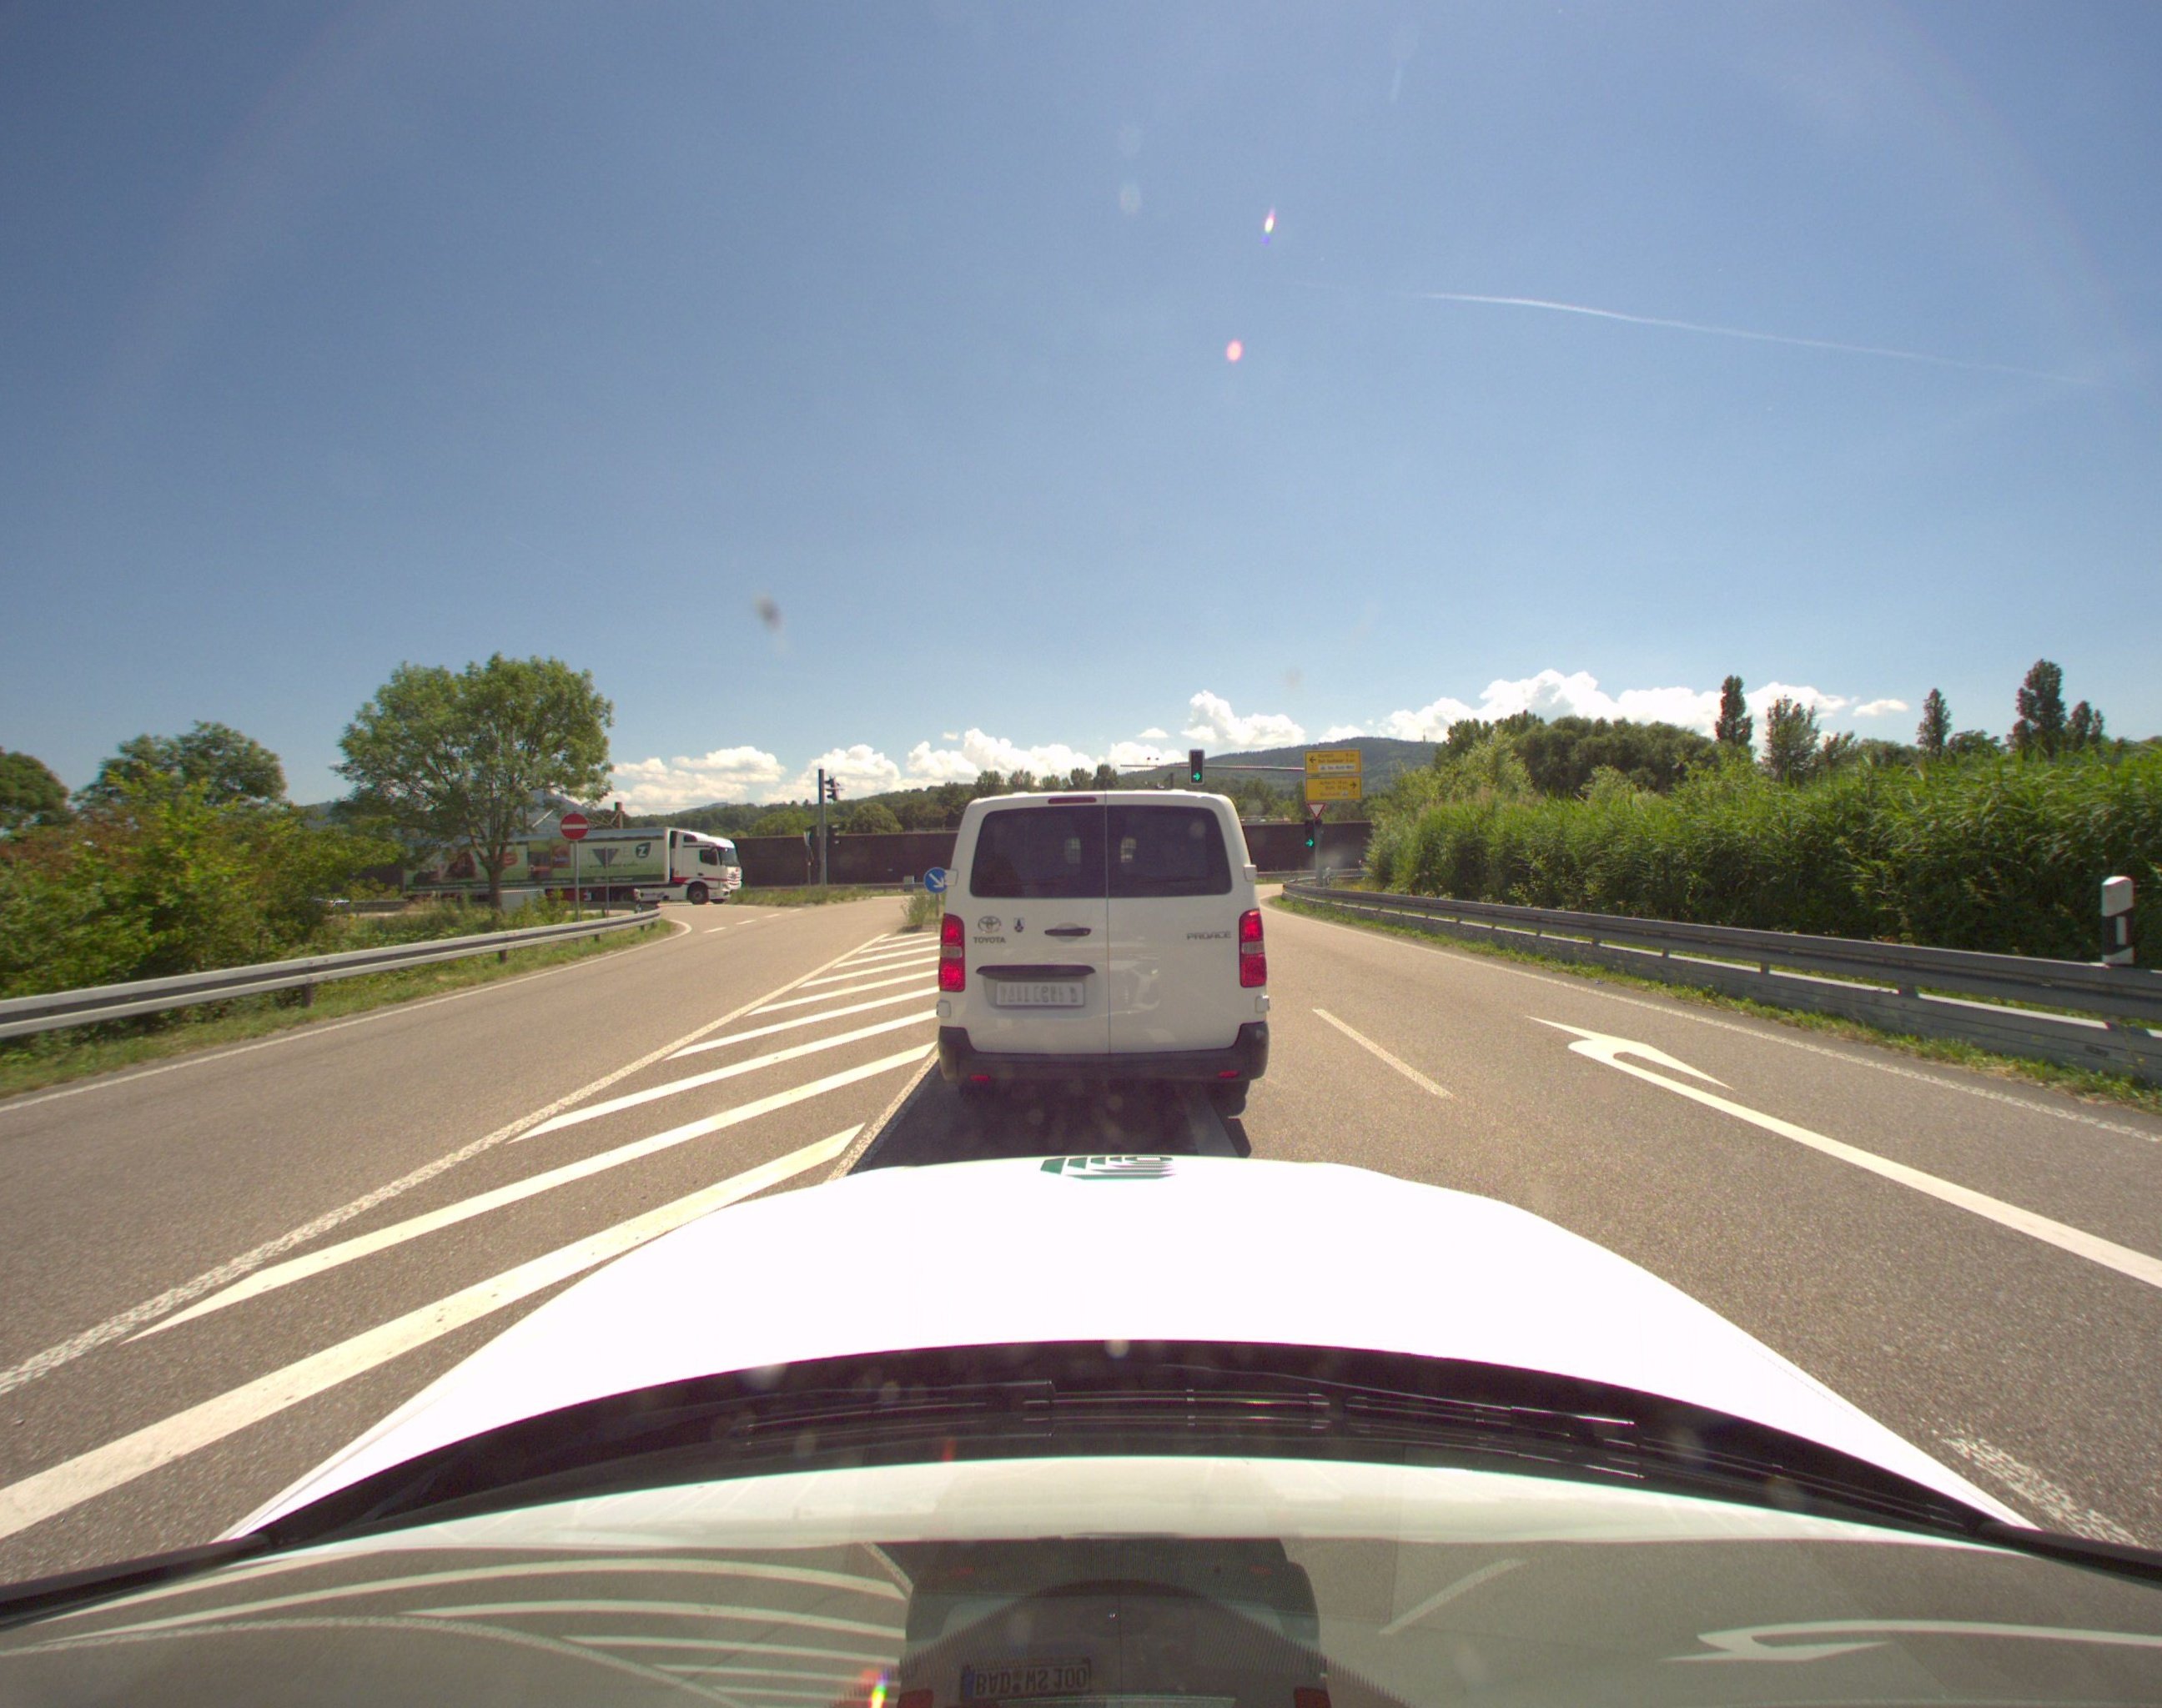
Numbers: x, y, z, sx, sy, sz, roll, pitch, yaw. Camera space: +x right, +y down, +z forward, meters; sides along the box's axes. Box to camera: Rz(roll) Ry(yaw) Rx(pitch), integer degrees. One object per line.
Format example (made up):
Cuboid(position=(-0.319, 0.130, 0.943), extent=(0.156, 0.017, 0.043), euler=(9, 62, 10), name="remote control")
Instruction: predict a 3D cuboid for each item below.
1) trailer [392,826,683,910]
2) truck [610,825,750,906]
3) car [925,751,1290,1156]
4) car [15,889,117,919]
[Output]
Cuboid(position=(-28.213, 0.733, 42.720), extent=(13.098, 3.954, 3.061), euler=(-1, -1, 0), name="trailer")
Cuboid(position=(-20.955, 0.596, 42.776), extent=(5.746, 3.954, 3.062), euler=(-1, -1, 0), name="truck")
Cuboid(position=(0.189, 0.520, 6.123), extent=(1.808, 2.017, 4.001), euler=(-1, -1, 2), name="car")
Cuboid(position=(-53.895, 2.637, 43.289), extent=(3.462, 1.464, 1.554), euler=(-1, -1, 0), name="car")
